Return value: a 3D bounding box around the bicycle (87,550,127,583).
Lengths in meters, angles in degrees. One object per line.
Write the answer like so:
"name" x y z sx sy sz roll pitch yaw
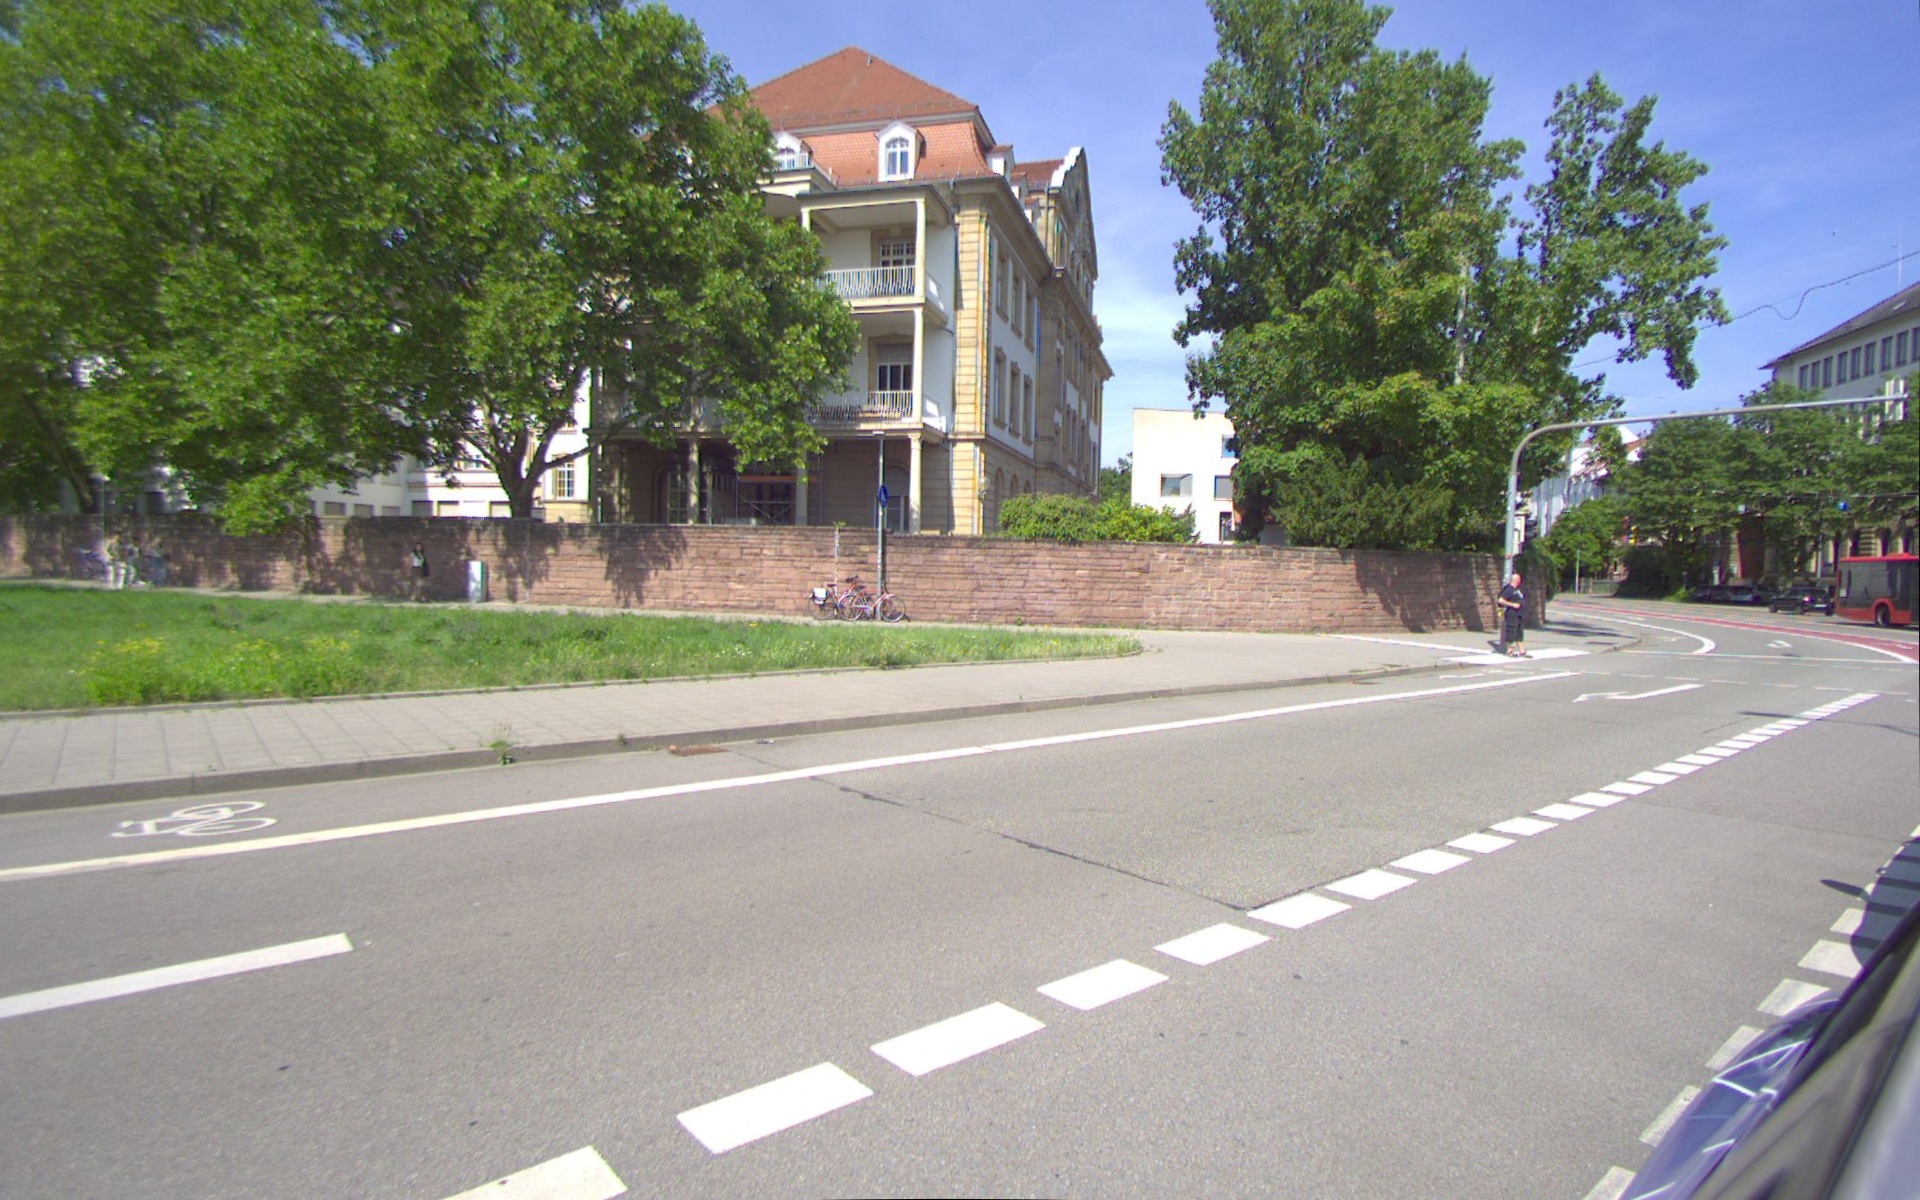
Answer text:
"bicycle" -28.528 -1.118 33.848 1.432 1.046 0.444 3 2 24

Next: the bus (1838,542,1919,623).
"bus" 38.476 -0.685 37.950 3.087 3.133 12.359 0 1 14

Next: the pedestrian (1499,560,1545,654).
"pedestrian" 12.562 0.141 22.636 0.790 2.038 0.608 2 2 35

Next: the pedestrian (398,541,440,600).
"pedestrian" -14.732 -0.810 27.578 0.900 1.567 0.501 2 2 13

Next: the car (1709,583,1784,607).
"car" 58.863 -0.353 75.811 3.941 1.682 1.993 0 3 14

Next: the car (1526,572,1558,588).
"car" 59.588 -2.054 103.717 1.973 1.638 3.978 0 1 17

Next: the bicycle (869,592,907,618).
"bicycle" -1.786 0.111 25.144 0.929 0.609 0.275 2 2 -2

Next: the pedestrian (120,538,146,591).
"pedestrian" -25.585 -1.109 31.297 0.700 1.597 0.516 3 3 41

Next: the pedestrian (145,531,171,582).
"pedestrian" -25.184 -1.372 31.793 0.700 1.597 0.516 3 3 41

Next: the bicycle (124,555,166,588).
"bicycle" -26.613 -0.937 33.042 1.432 1.046 0.444 3 2 24

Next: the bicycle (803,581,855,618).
"bicycle" -3.239 -0.014 25.005 1.202 0.894 0.395 1 2 -21

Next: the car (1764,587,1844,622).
"car" 47.072 0.228 56.549 1.973 1.915 3.978 0 0 17

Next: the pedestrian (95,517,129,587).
"pedestrian" -25.024 -1.423 29.865 0.586 2.038 0.522 1 2 9
